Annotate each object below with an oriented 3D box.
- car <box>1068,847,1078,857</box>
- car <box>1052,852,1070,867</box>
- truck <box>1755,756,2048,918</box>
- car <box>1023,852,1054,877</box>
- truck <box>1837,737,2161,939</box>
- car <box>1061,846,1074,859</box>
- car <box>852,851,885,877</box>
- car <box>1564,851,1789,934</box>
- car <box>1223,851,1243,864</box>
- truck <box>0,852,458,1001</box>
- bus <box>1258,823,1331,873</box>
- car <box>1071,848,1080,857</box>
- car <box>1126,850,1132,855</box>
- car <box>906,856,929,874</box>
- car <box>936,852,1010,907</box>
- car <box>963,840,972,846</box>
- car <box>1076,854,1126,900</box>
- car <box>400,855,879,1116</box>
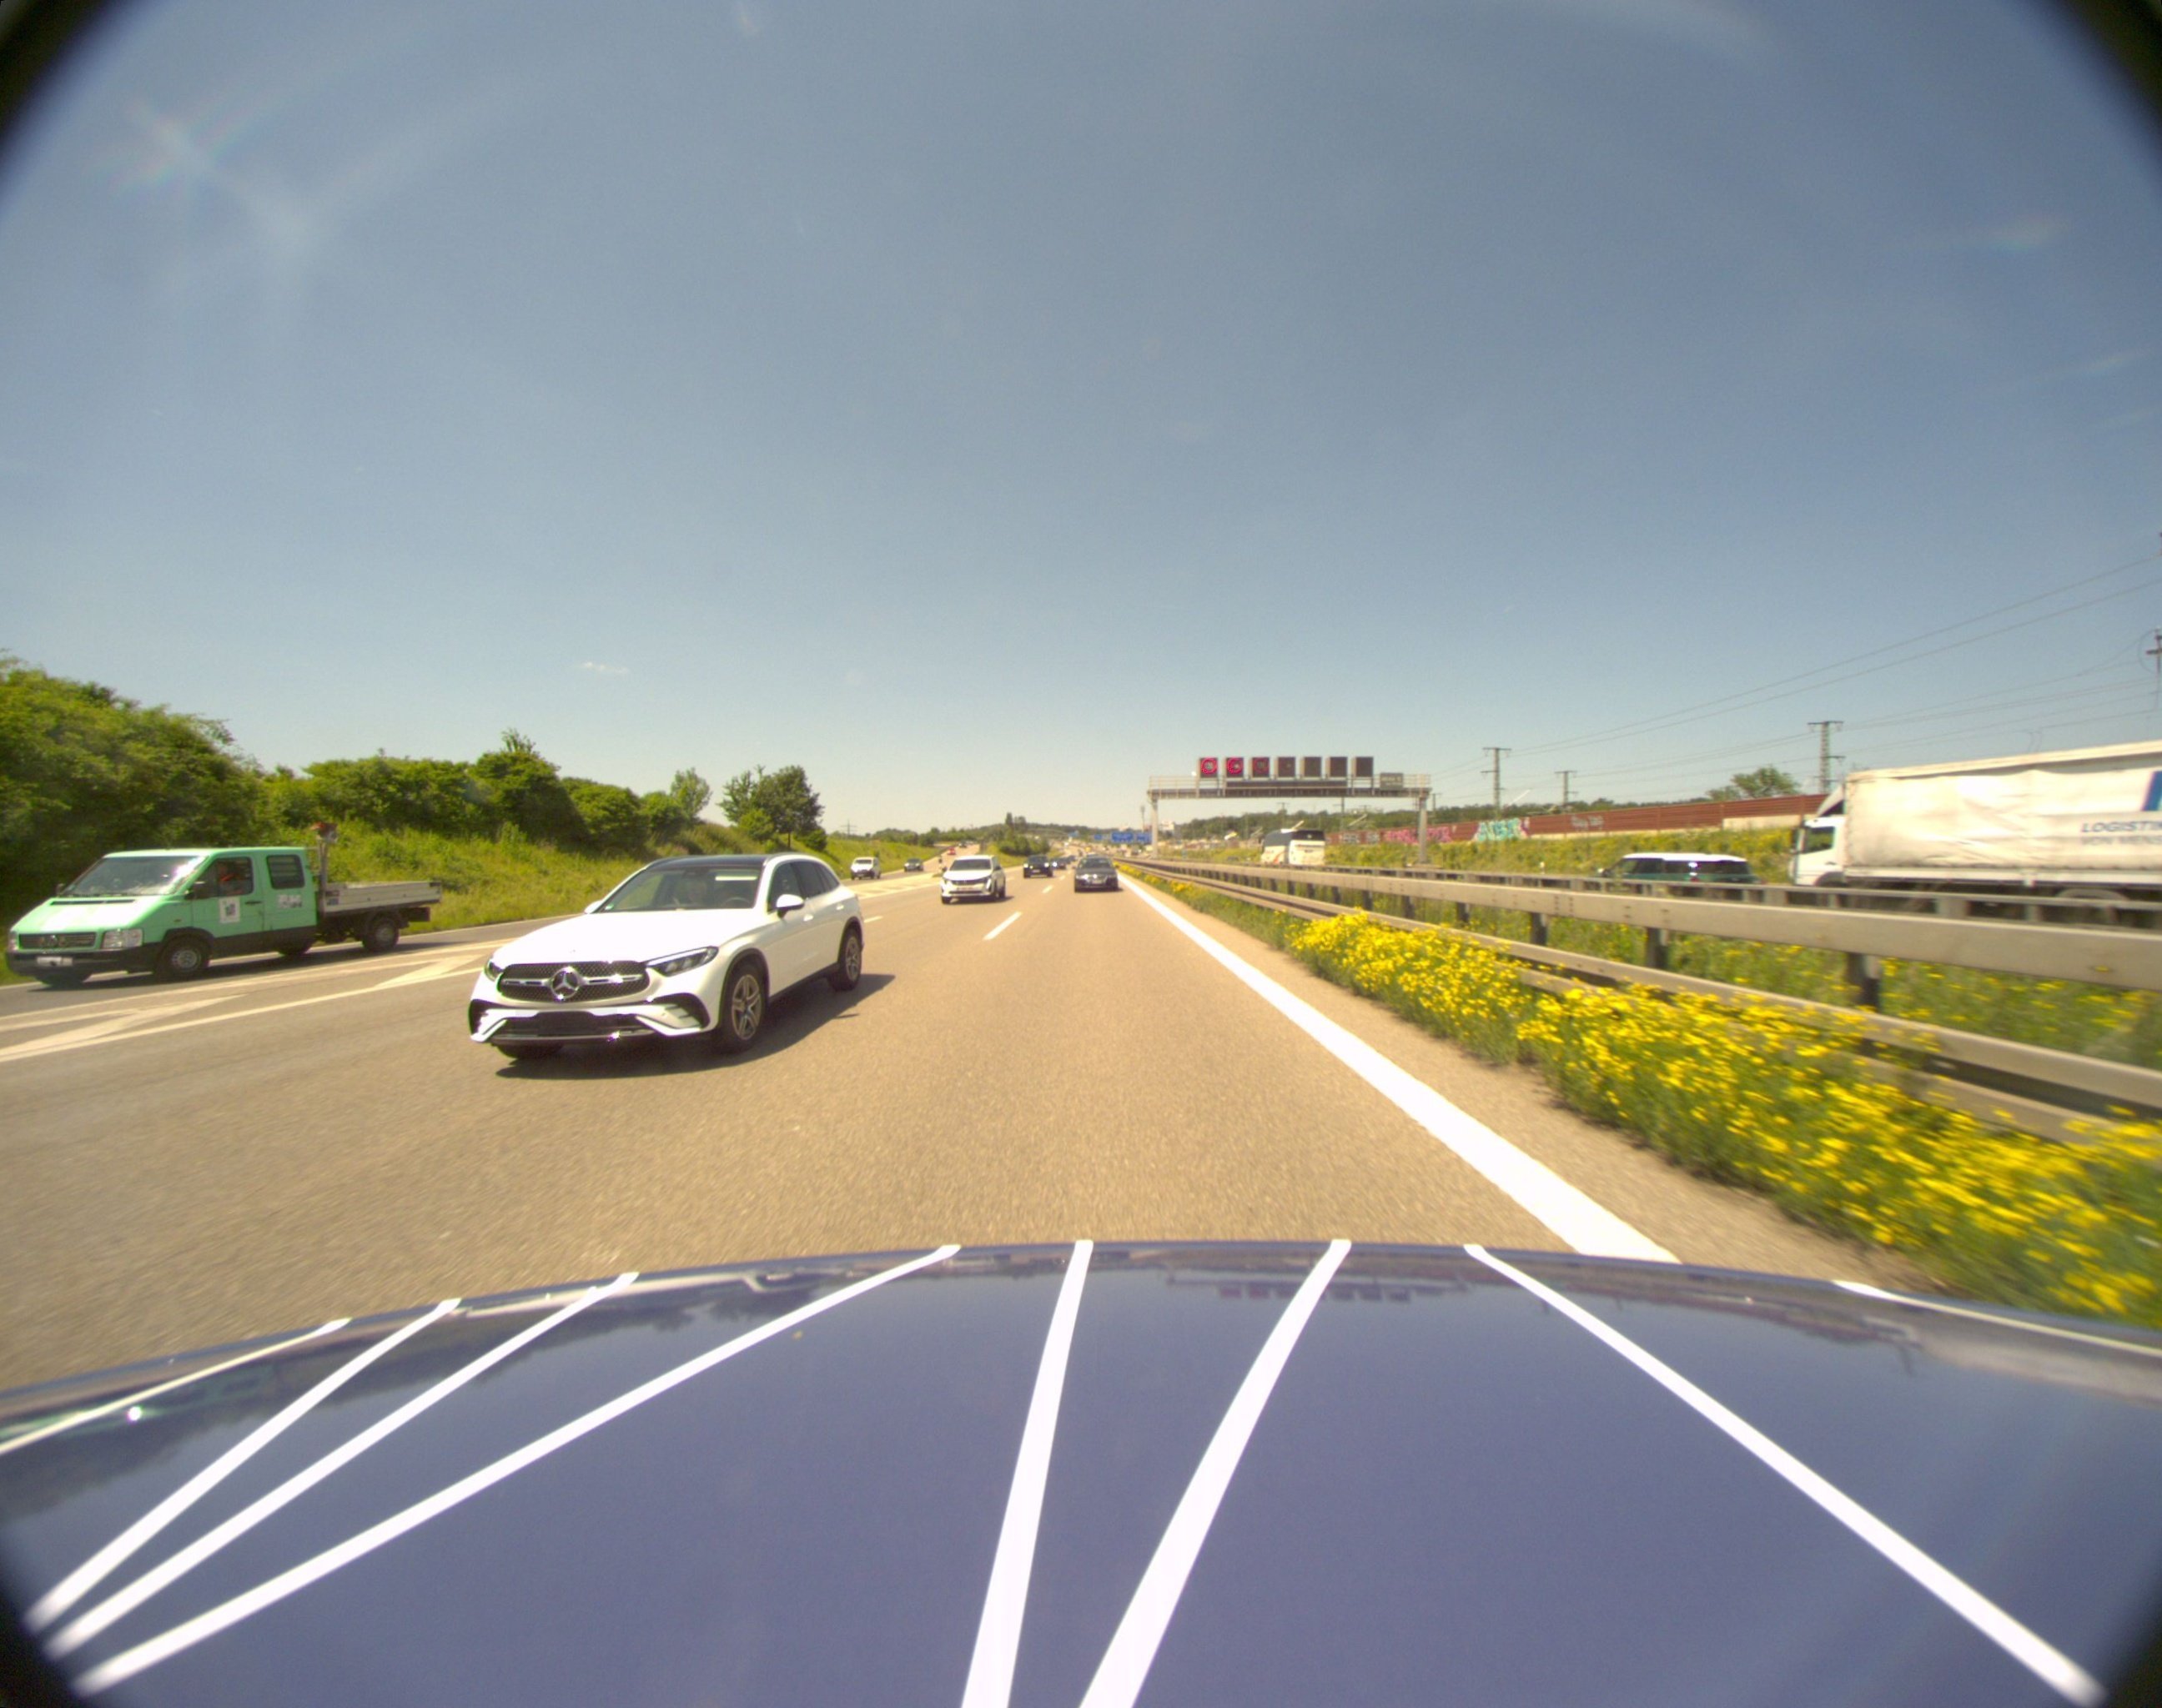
[{"bbox_3d":[-1.806,-0.451,169.247,1.999,2.002,3.999,-2,1,0],"label":"car"},{"bbox_3d":[-2.158,0.574,81.535,1.752,1.462,3.998,-2,2,-2],"label":"car"},{"bbox_3d":[19.961,-0.380,18.847,2.855,3.446,4.023,-3,0,1],"label":"truck"},{"bbox_3d":[-3.064,0.737,55.498,1.983,1.620,4.615,-2,1,-1],"label":"car"},{"bbox_3d":[19.884,-0.344,14.661,2.864,3.446,7.780,-3,0,1],"label":"truck"},{"bbox_3d":[-2.345,-0.252,132.625,1.999,2.002,3.999,-2,1,0],"label":"car"},{"bbox_3d":[-18.740,0.840,67.236,2.000,2.159,4.890,-1,0,-7],"label":"car"},{"bbox_3d":[13.022,0.750,16.995,1.925,1.601,4.000,1,0,1],"label":"car"},{"bbox_3d":[18.912,0.417,94.562,1.696,1.465,4.000,1,0,1],"label":"car"},{"bbox_3d":[-14.961,1.033,13.905,2.170,2.080,6.117,-1,1,-2],"label":"truck"},{"bbox_3d":[17.088,-0.467,61.722,2.864,3.624,10.940,-3,0,1],"label":"bus"},{"bbox_3d":[-1.406,-0.322,188.722,1.998,2.002,3.999,-3,2,1],"label":"car"},{"bbox_3d":[16.099,-0.485,255.657,1.917,1.535,4.809,-1,0,1],"label":"car"},{"bbox_3d":[-20.469,1.404,95.323,1.999,2.002,3.998,-3,2,-3],"label":"car"},{"bbox_3d":[-3.758,0.831,27.201,1.898,1.620,4.616,-2,1,0],"label":"car"},{"bbox_3d":[-31.686,-3.035,211.964,1.983,1.620,4.615,-2,1,-1],"label":"car"},{"bbox_3d":[0.720,0.821,29.308,1.752,1.462,3.998,-2,2,0],"label":"car"},{"bbox_3d":[-3.635,0.905,7.517,1.909,1.646,4.636,-2,1,1],"label":"car"}]
